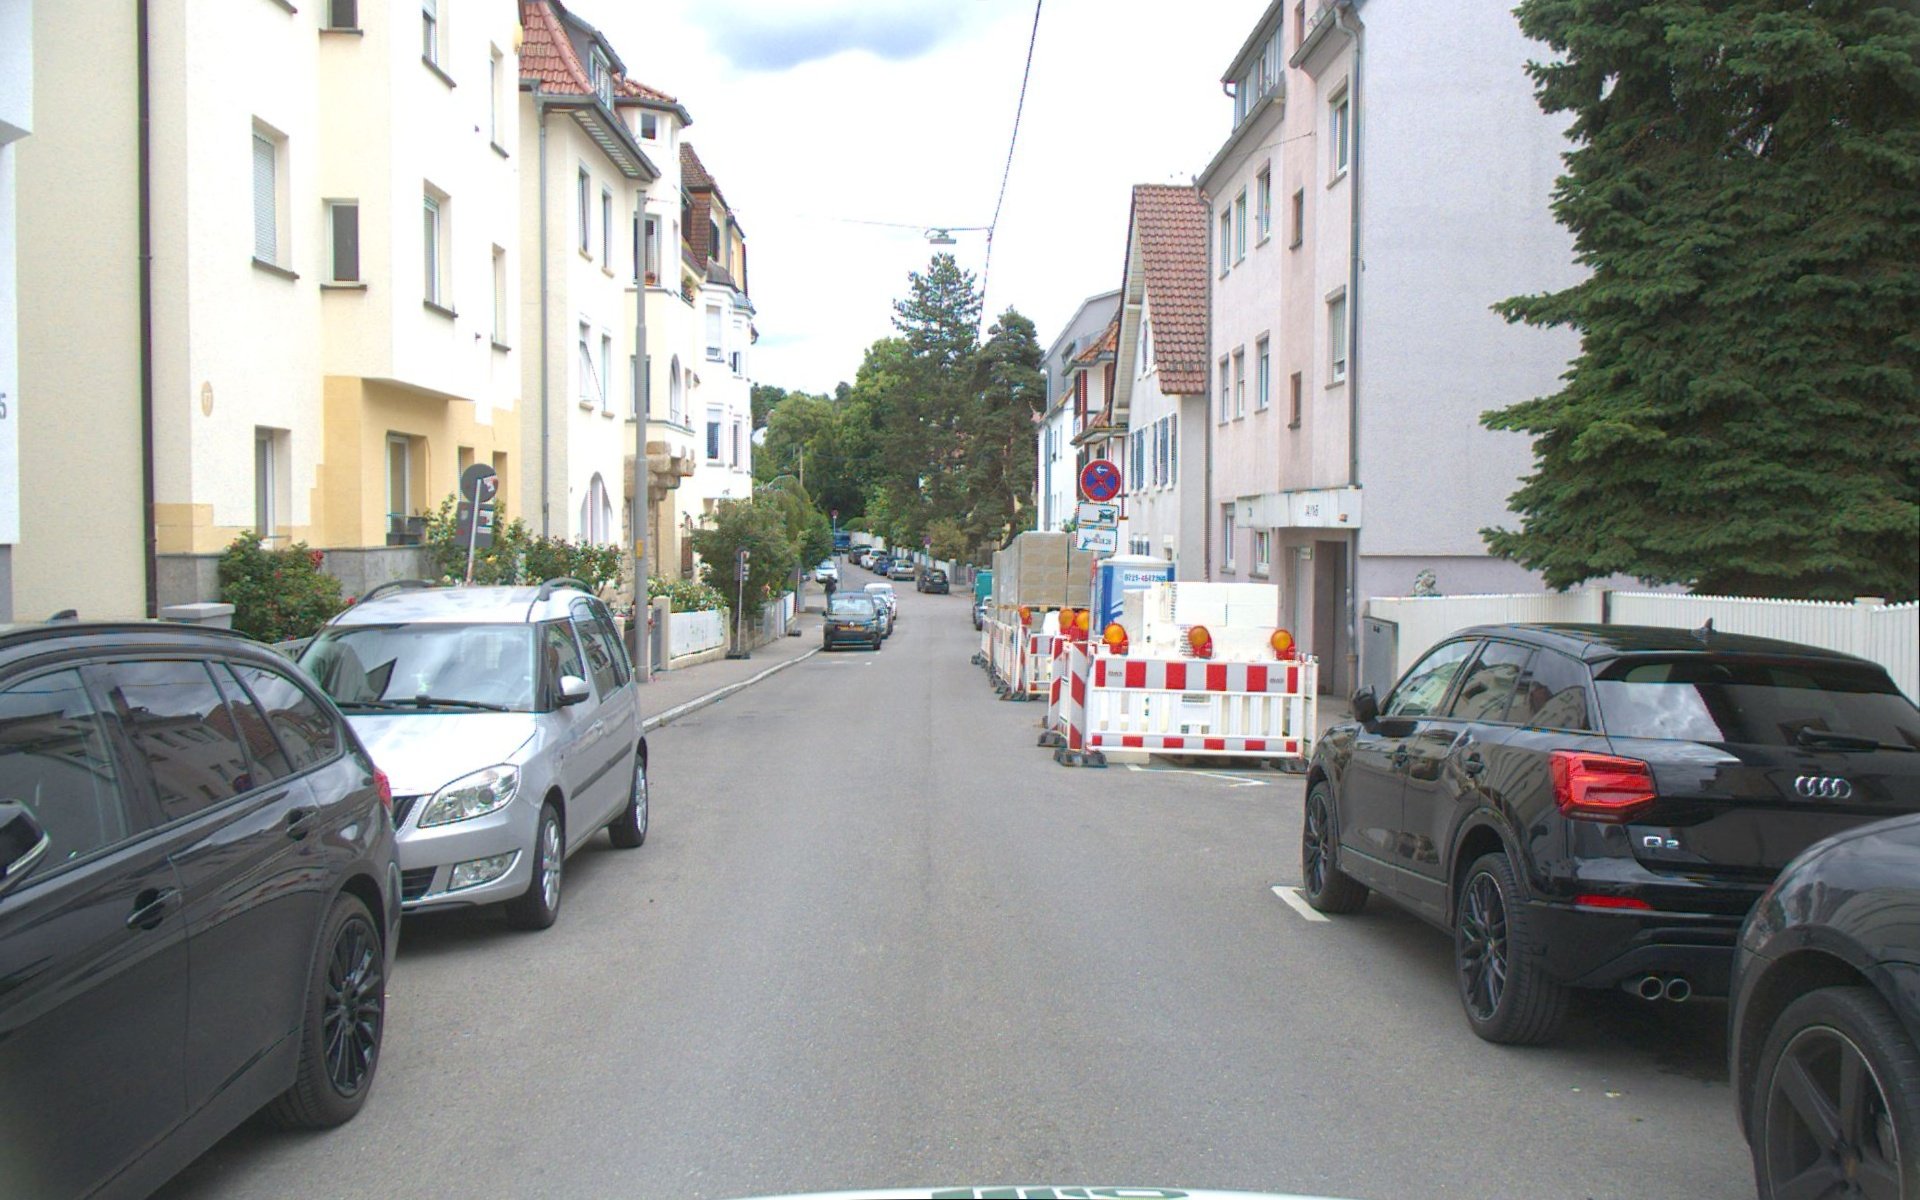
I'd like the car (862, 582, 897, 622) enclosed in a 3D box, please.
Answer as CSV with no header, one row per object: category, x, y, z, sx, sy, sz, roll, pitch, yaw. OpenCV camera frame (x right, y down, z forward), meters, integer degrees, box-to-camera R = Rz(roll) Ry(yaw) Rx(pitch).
car,-3.960,0.075,81.529,1.639,1.685,3.863,-1,3,-2

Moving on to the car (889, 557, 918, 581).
car,-4.122,-2.250,120.090,1.604,1.509,3.523,1,4,-10

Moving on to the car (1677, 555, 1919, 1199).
car,2.813,0.762,2.081,1.679,1.624,4.496,2,1,-3

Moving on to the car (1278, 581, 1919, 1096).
car,2.675,0.738,7.257,1.680,1.593,4.072,2,1,-1

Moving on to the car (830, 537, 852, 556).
car,-10.882,-4.892,150.676,1.604,1.563,3.523,1,4,-10

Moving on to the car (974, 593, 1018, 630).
car,1.529,0.477,71.675,1.690,1.473,3.880,0,2,-2

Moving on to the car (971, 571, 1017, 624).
car,1.576,-0.147,78.022,1.940,2.403,4.276,0,1,-2

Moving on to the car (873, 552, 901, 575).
car,-5.496,-2.768,124.493,1.604,1.509,3.523,1,4,-10

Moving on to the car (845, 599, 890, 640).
car,-3.525,0.720,63.338,1.609,1.441,3.982,-1,1,-2

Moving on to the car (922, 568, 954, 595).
car,-1.465,-1.208,108.054,1.604,1.509,3.525,1,4,-9

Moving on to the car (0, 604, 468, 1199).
car,-2.541,0.761,3.339,1.807,1.483,4.503,-1,0,-1

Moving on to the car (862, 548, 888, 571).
car,-6.709,-3.220,130.552,1.604,1.563,3.523,1,4,-10

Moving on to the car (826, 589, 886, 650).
car,-3.349,0.588,52.821,1.808,1.847,4.541,-1,0,-4

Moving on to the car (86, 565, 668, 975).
car,-2.748,0.683,8.893,1.808,1.659,4.284,0,0,-3

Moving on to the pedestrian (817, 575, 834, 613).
pedestrian,-6.948,-0.321,85.398,0.775,1.966,0.919,1,1,1

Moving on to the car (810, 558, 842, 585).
car,-9.538,-2.044,117.280,1.644,1.685,3.850,-1,3,-14

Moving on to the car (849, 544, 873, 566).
car,-8.171,-3.708,136.316,1.604,1.563,3.523,1,4,-10
